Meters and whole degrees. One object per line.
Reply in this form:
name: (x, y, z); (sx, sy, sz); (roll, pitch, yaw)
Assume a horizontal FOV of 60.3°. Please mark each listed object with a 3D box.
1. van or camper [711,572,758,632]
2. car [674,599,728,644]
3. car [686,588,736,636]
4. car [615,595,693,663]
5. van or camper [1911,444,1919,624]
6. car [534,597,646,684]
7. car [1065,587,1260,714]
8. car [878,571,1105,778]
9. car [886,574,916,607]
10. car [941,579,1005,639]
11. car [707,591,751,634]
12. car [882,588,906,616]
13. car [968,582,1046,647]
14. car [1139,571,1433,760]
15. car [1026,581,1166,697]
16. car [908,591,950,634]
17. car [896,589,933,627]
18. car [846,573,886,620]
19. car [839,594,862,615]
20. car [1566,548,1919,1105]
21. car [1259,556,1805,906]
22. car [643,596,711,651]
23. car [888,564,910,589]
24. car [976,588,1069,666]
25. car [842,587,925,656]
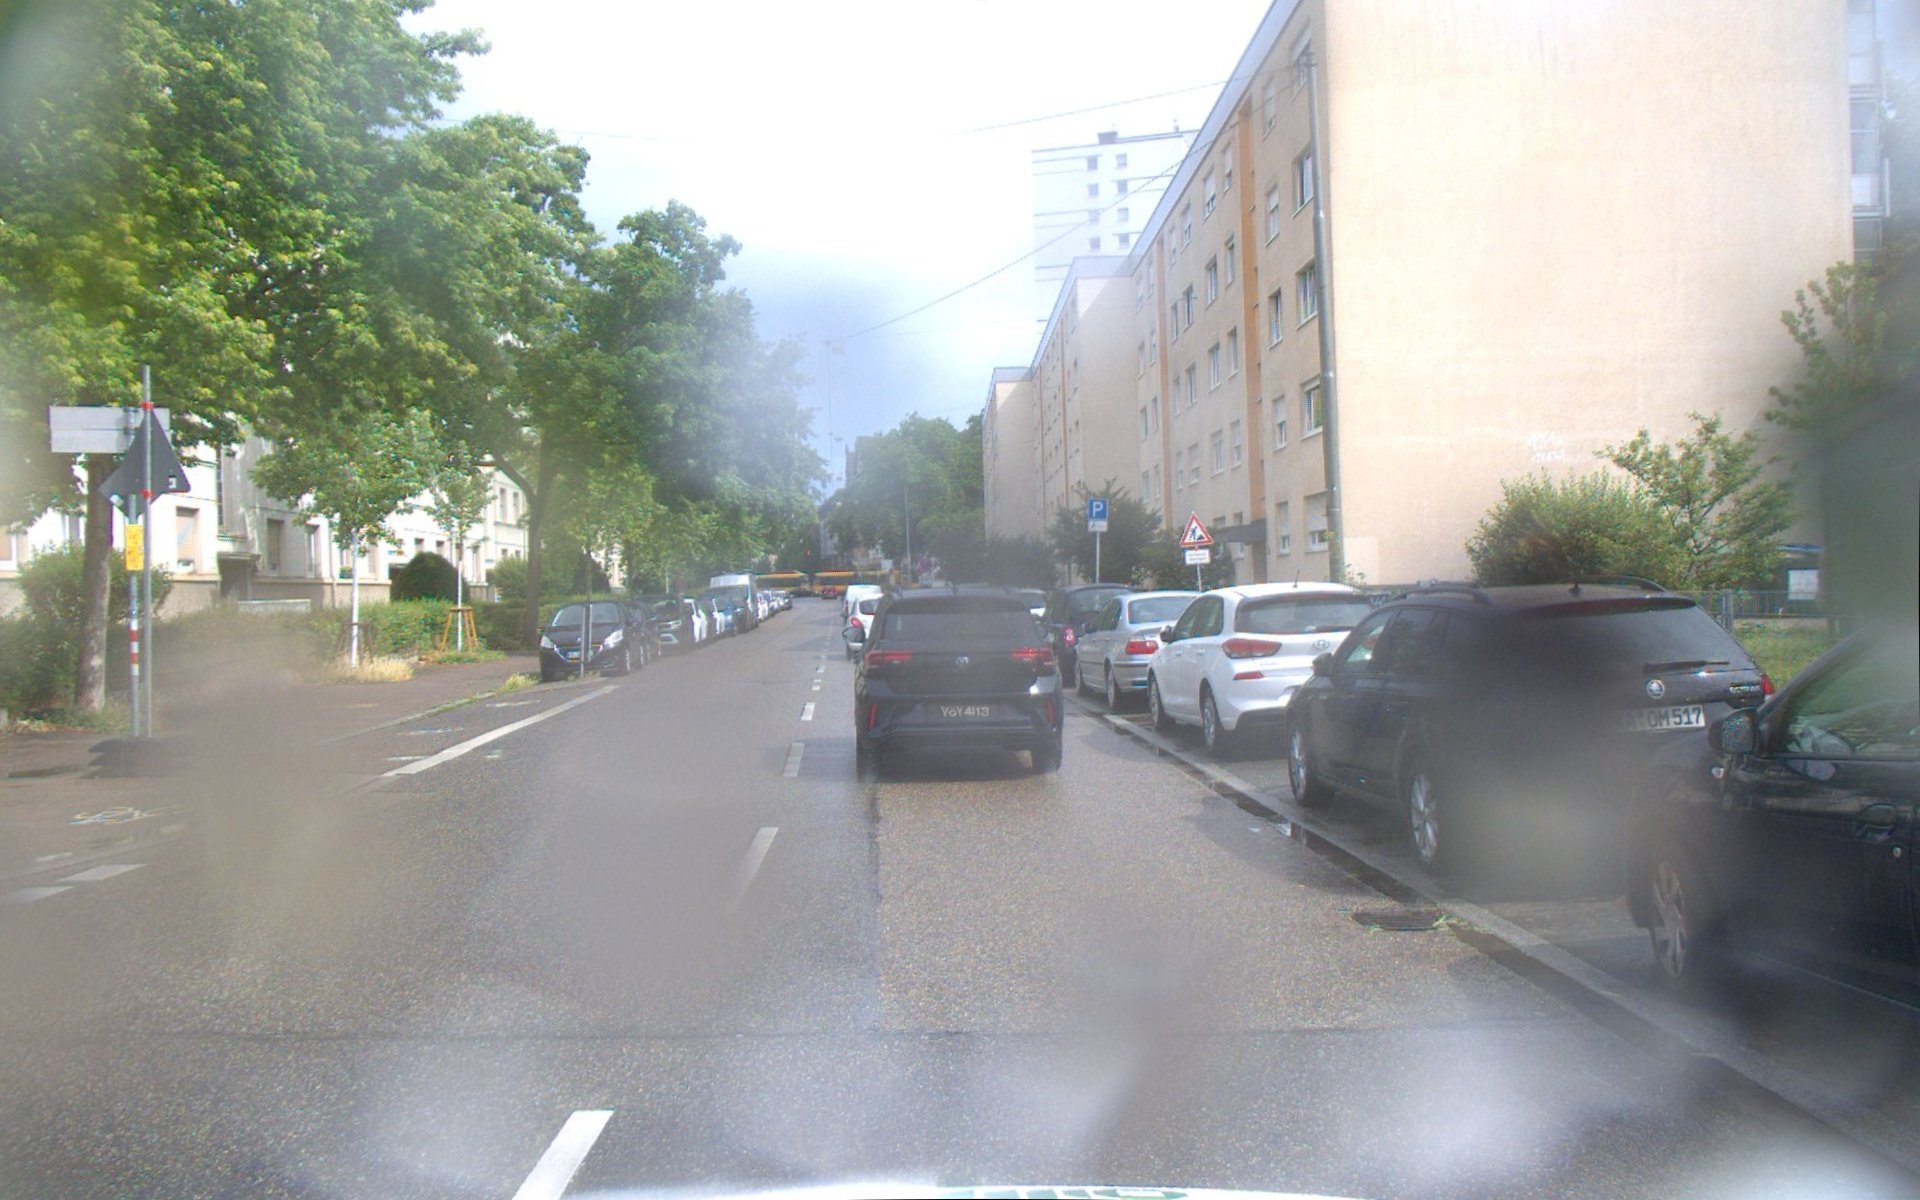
van or camper: (-10.267, 0.092, 75.574); (1.767, 2.537, 5.015); (-3, 0, -5)
car: (-9.138, 0.720, 58.650); (1.555, 1.442, 3.916); (-3, 0, -5)
car: (-9.475, 0.433, 63.196); (1.555, 1.668, 3.916); (-3, 0, -5)
car: (-7.962, 0.721, 43.298); (1.555, 1.603, 4.010); (-3, 0, -5)
van or camper: (13.829, -0.859, 18.798); (4.660, 2.168, 2.323); (-2, 1, 3)
car: (-7.297, 0.749, 32.935); (1.555, 1.532, 4.060); (-3, 0, -5)
car: (2.526, 0.587, 21.595); (1.683, 1.478, 4.255); (0, 0, -5)
car: (0.234, 0.584, 15.443); (1.835, 1.674, 4.061); (0, 0, -1)
car: (-3.498, -0.564, 97.442); (1.632, 1.869, 3.998); (-3, 0, -3)
car: (0.355, 0.251, 51.129); (1.573, 1.701, 4.028); (-3, 0, -4)
car: (-9.583, 0.500, 68.807); (1.555, 1.668, 3.916); (-3, 0, -5)
car: (-4.665, 0.114, 116.664); (1.632, 1.869, 3.998); (-3, 0, -3)
car: (1.185, 0.356, 43.574); (1.573, 1.532, 4.028); (-3, 0, -4)
car: (2.967, 0.574, 15.956); (1.714, 1.534, 4.108); (-2, -1, -4)
car: (2.102, 0.551, 26.481); (1.573, 1.690, 4.028); (0, 1, -5)
car: (-1.439, 0.560, 74.676); (1.573, 1.796, 4.028); (-3, 0, -4)
car: (-2.344, 0.404, 84.394); (1.573, 1.796, 4.028); (-3, 0, -4)
car: (-4.417, -0.133, 78.114); (1.799, 2.140, 3.998); (0, -1, -2)
car: (-8.291, 0.333, 125.027); (1.573, 1.536, 3.545); (-3, 0, -4)
car: (3.513, 0.596, 4.856); (1.722, 1.554, 3.997); (-3, 0, -4)
car: (3.097, 0.625, 9.918); (1.573, 1.534, 4.157); (-4, 0, -3)
car: (-8.240, 0.647, 48.384); (1.555, 1.442, 3.916); (-3, 0, -5)
car: (-5.014, -1.900, 135.187); (1.632, 1.869, 3.998); (-3, 0, -3)
car: (1.351, 0.570, 37.299); (1.662, 1.565, 4.030); (-3, 0, -3)
car: (-1.741, 0.495, 38.712); (1.776, 1.529, 3.999); (0, -1, -1)
